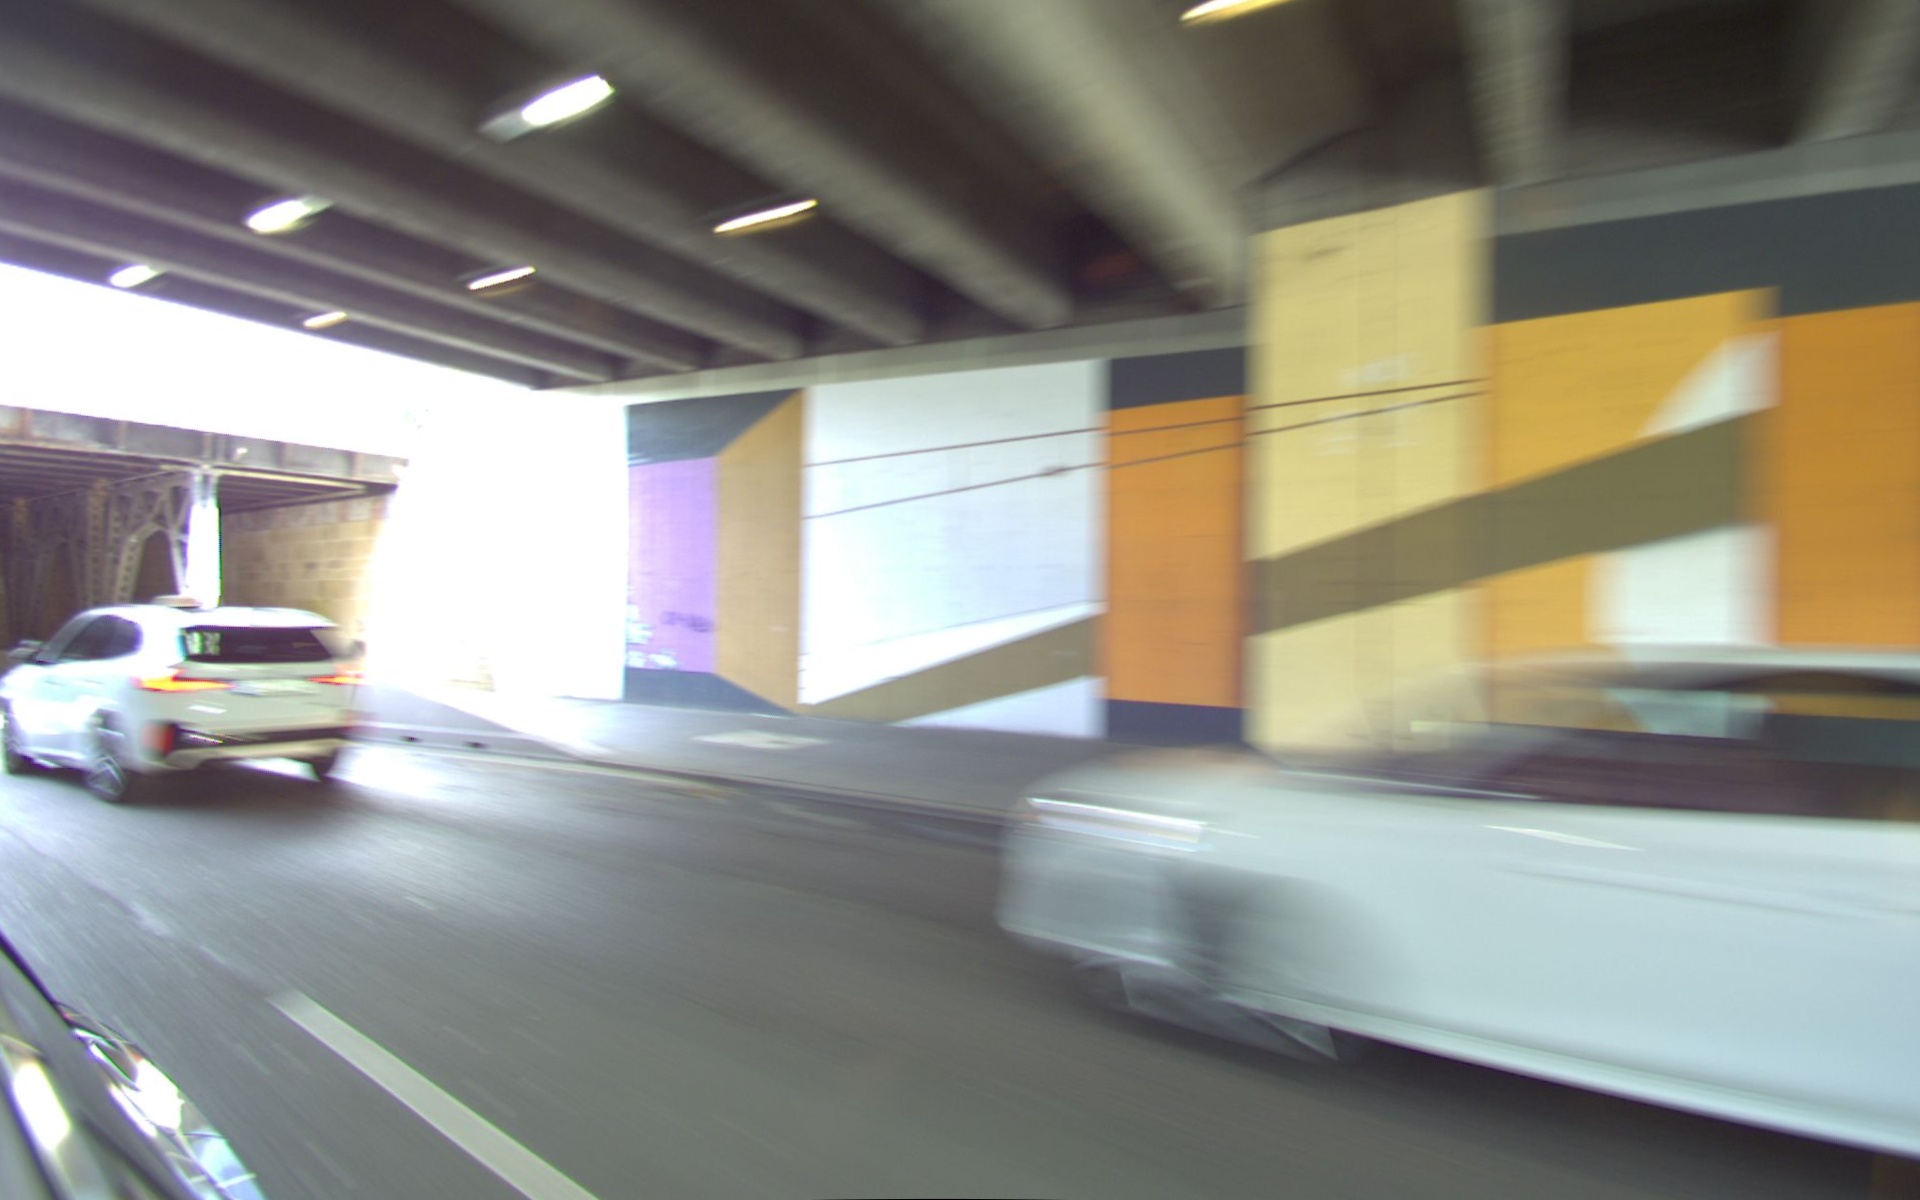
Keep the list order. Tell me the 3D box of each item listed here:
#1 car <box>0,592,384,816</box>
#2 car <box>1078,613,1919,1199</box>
[{"bbox_3d":[-7.413,0.833,9.499,4.203,1.666,1.810,-1,-3,34],"label":"car"},{"bbox_3d":[2.456,0.793,3.188,3.845,1.458,1.656,-1,-3,37],"label":"car"}]
